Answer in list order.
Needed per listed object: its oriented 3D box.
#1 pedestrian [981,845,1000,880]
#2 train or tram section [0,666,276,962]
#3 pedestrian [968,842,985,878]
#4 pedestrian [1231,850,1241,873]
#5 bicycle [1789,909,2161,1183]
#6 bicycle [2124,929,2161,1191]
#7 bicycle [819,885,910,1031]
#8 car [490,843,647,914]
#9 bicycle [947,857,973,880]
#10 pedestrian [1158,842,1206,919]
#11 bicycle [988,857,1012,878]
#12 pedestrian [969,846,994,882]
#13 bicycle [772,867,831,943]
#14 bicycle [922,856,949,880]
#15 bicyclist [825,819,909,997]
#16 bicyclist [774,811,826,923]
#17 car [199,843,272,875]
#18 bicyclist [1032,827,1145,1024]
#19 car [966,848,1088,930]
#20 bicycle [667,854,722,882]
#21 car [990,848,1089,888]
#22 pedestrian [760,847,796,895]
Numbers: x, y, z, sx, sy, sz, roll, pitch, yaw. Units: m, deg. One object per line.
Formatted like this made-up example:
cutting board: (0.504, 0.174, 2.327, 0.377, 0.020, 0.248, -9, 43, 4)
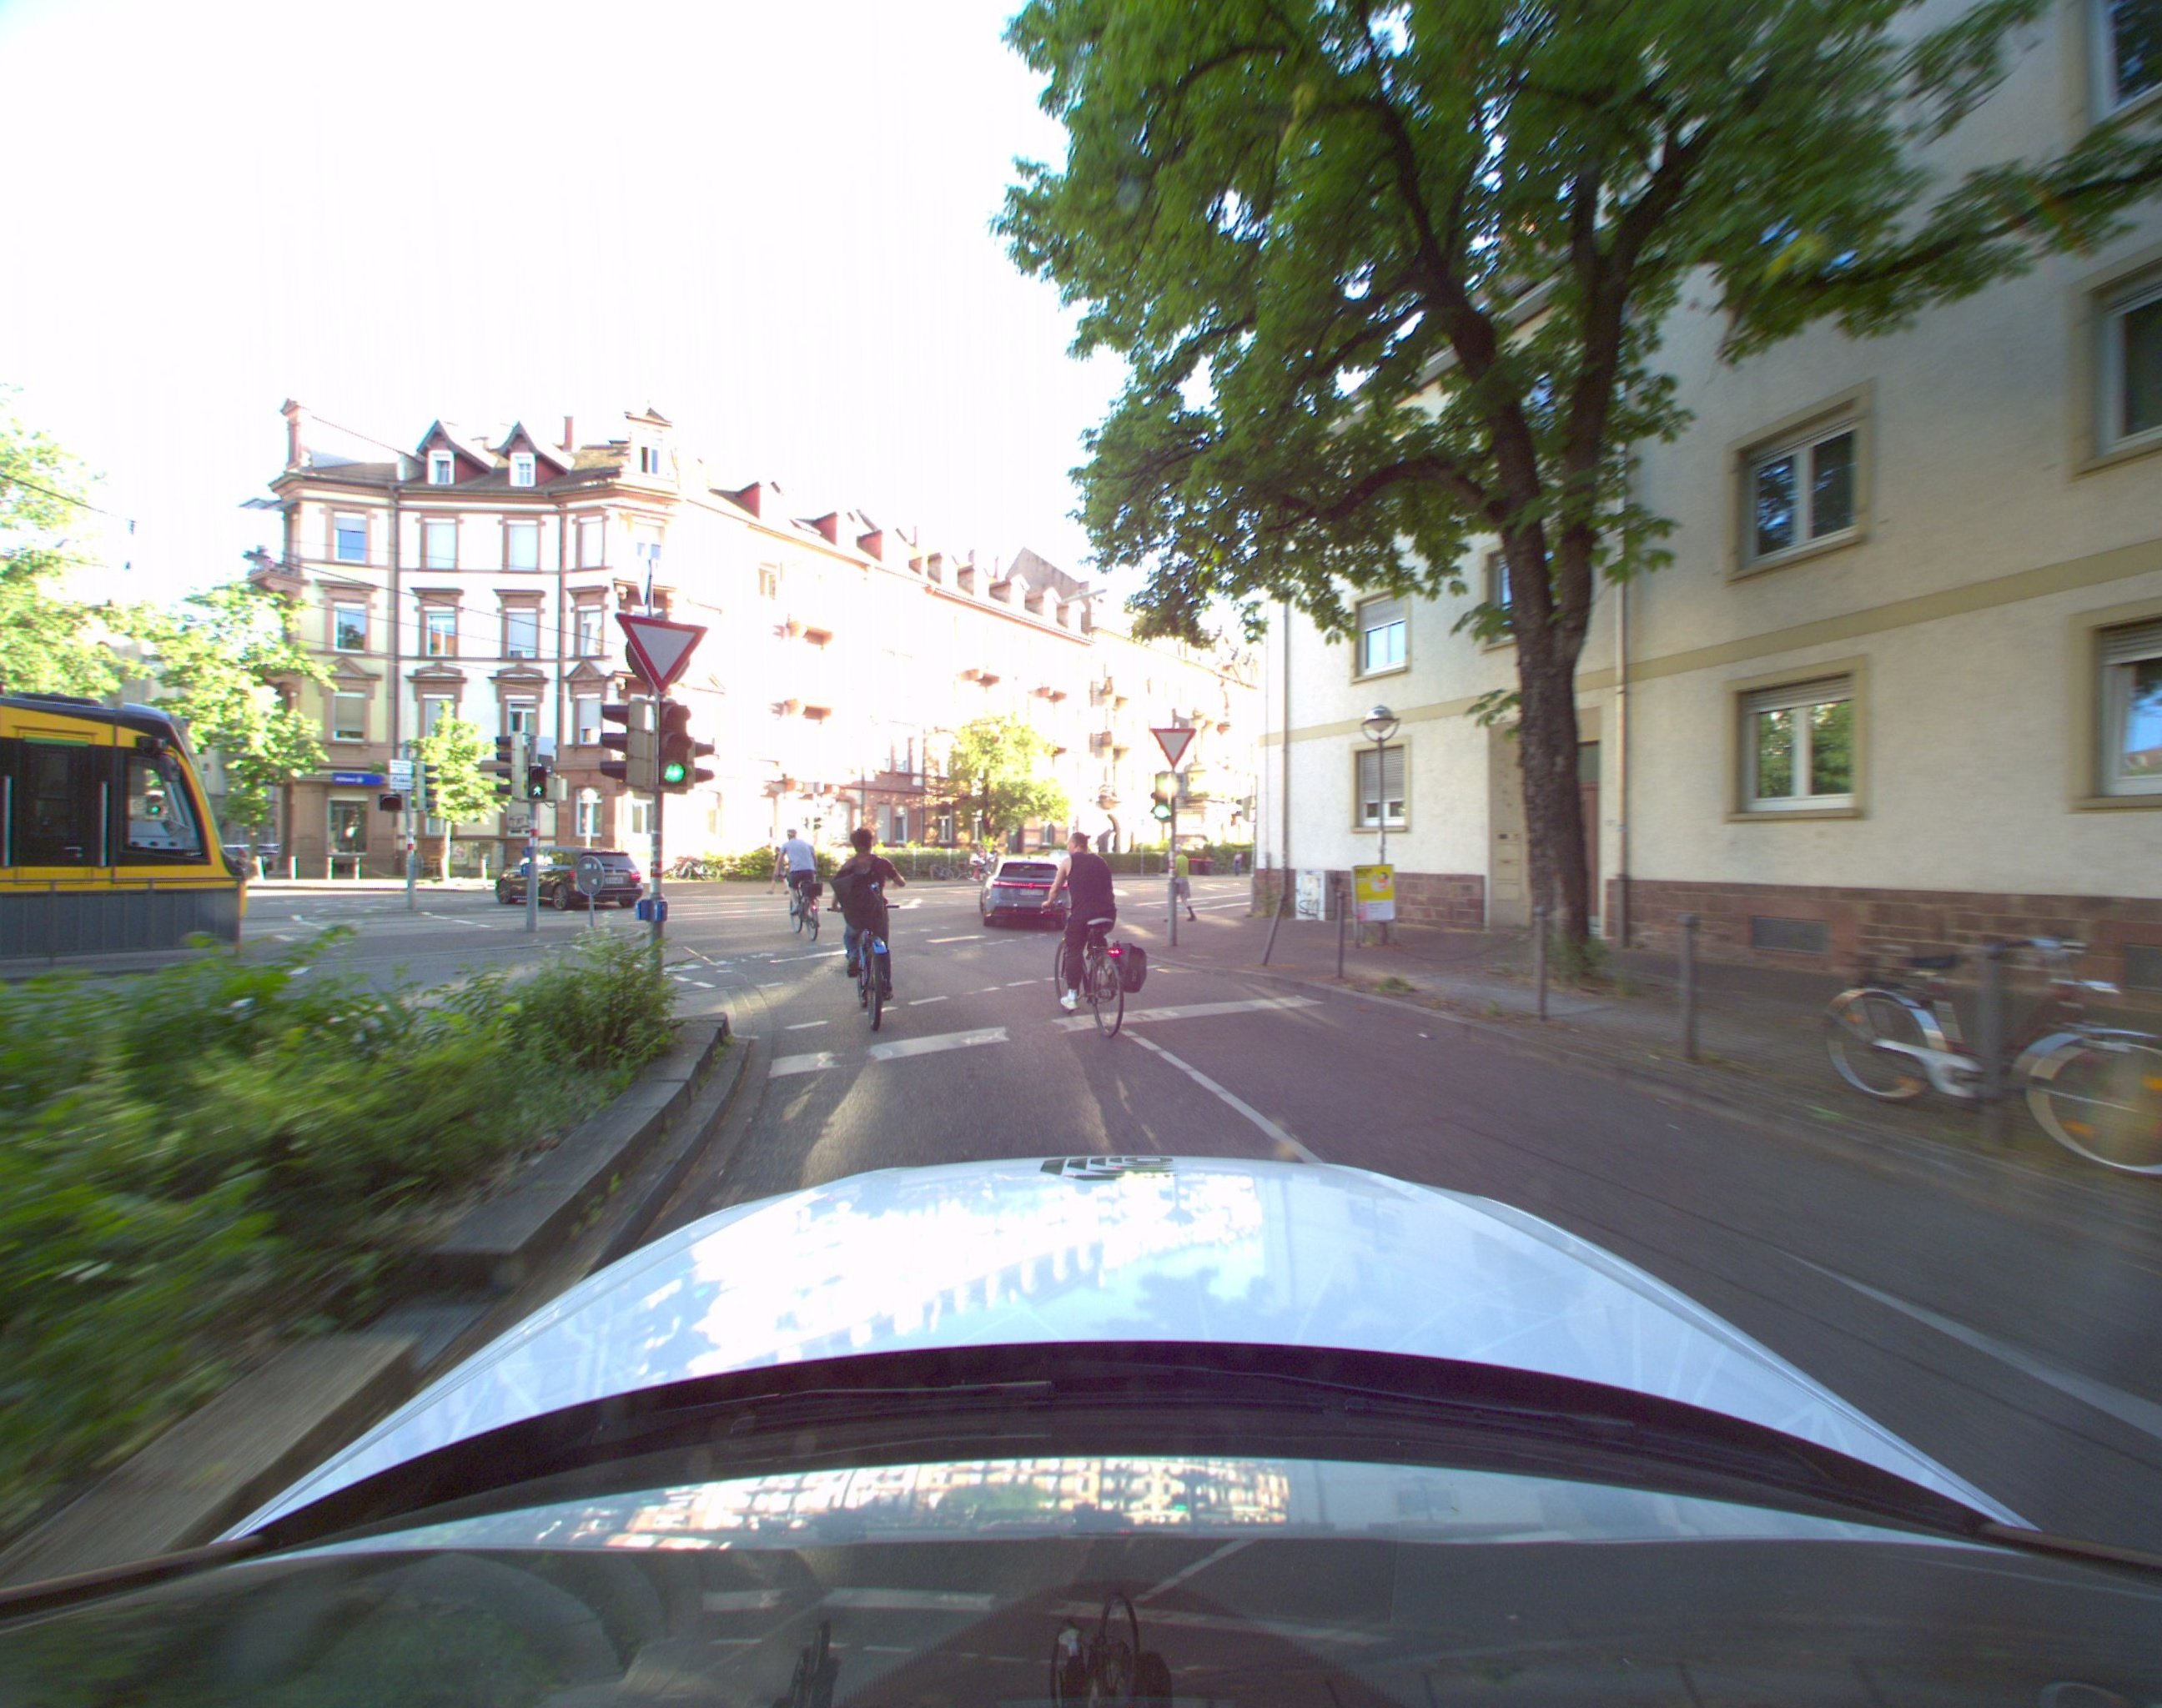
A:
pedestrian: (-4.388, 0.409, 39.444, 0.639, 1.715, 0.656, 1, 0, -38)
train or tram section: (-16.507, -0.522, 8.042, 2.765, 3.619, 11.875, 1, 0, 38)
pedestrian: (-5.114, 0.282, 39.778, 0.639, 1.715, 0.515, 1, 0, -39)
pedestrian: (10.985, 0.521, 57.745, 0.498, 1.641, 0.520, 0, 0, -40)
bicycle: (4.812, 0.905, 4.430, 0.479, 1.064, 1.635, -2, 1, 0)
bicycle: (4.903, 0.889, 2.730, 0.524, 1.107, 1.739, -2, 0, -2)
bicycle: (-2.071, 0.892, 7.716, 0.718, 1.107, 1.956, 1, 0, -16)
car: (-12.940, 0.543, 20.539, 3.811, 1.541, 1.807, 2, 2, 31)
bicycle: (-5.937, 0.708, 39.966, 0.438, 1.107, 1.241, 1, 1, 44)
pedestrian: (2.364, 0.602, 19.113, 0.647, 1.727, 0.879, -2, 0, -34)
bicycle: (-4.169, 0.702, 41.903, 0.437, 1.038, 1.241, 1, 1, 43)
pedestrian: (-4.702, 0.470, 38.326, 0.902, 1.664, 0.705, 1, 2, -35)
bicycle: (-4.984, 0.848, 14.441, 0.813, 1.185, 2.209, 0, 0, -23)
bicycle: (-6.953, 0.667, 38.955, 0.438, 1.107, 1.241, 1, 1, 44)
bicyclist: (-2.034, 0.475, 7.733, 0.708, 1.573, 0.952, 1, 0, -16)
bicyclist: (-4.997, 0.221, 14.458, 0.798, 1.913, 0.937, 1, 0, -24)
car: (-39.461, 0.216, 38.071, 1.510, 1.457, 3.177, 1, 0, -30)
bicyclist: (0.044, 0.600, 7.434, 0.689, 1.656, 0.982, -1, 0, -22)
car: (-1.376, 0.715, 18.534, 1.973, 1.585, 4.453, 3, -1, -14)
bicycle: (-15.911, 0.584, 33.574, 1.965, 1.107, 0.440, 2, -1, -18)
car: (-1.784, 0.593, 36.399, 1.923, 1.650, 4.438, 0, 0, 39)
pedestrian: (-10.587, 0.585, 28.471, 0.897, 1.634, 0.727, 2, 1, 7)
